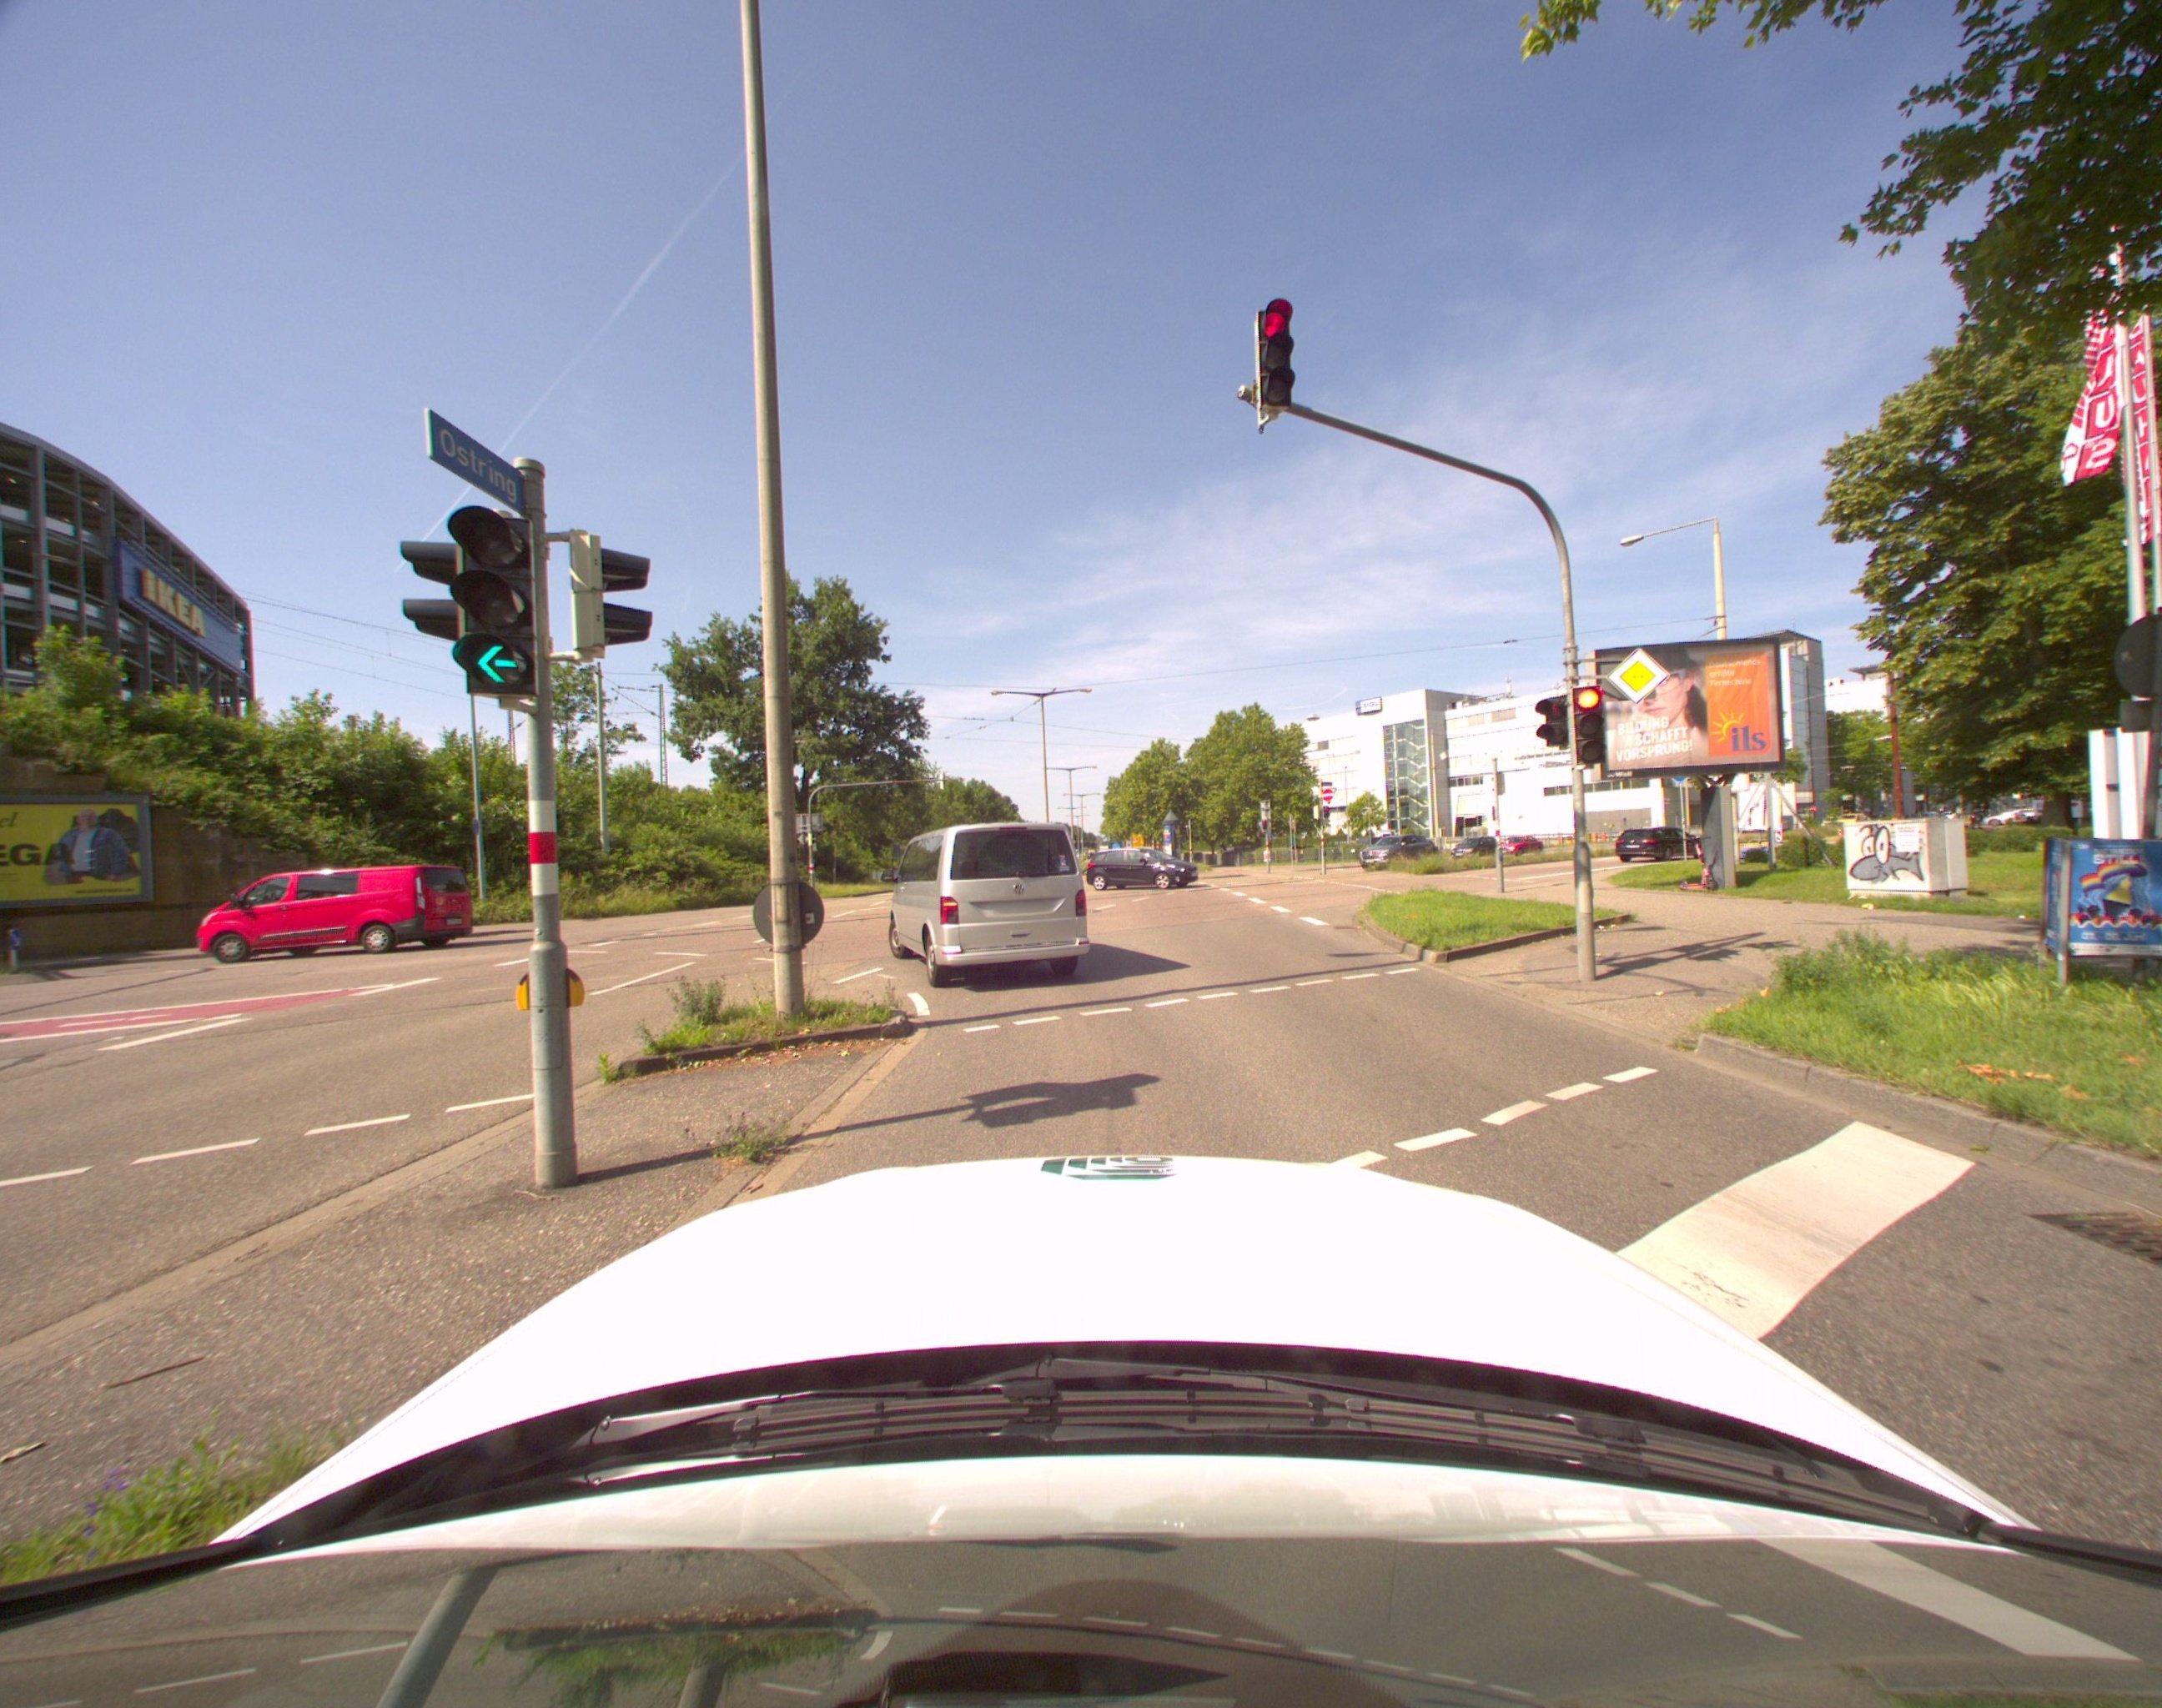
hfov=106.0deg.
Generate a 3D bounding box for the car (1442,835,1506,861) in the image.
[{"bbox_3d":[25.904,-0.416,53.601,4.647,1.444,1.762,-3,0,-35],"label":"car"}]

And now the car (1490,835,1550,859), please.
[{"bbox_3d":[30.603,-0.523,56.780,4.647,1.444,1.762,-3,0,-35],"label":"car"}]

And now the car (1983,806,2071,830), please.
[{"bbox_3d":[79.058,-3.009,68.123,1.923,1.689,4.579,-3,0,-32],"label":"car"}]

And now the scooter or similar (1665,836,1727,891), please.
[{"bbox_3d":[13.097,0.193,17.370,0.423,1.126,1.124,-3,0,0],"label":"scooter or similar"}]

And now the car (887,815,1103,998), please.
[{"bbox_3d":[-1.491,0.593,11.562,1.948,1.971,4.989,-2,0,-19],"label":"car"}]

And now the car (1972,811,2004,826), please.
[{"bbox_3d":[102.760,-4.052,92.213,4.362,1.510,1.831,-3,0,-35],"label":"car"}]

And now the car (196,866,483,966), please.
[{"bbox_3d":[-16.957,1.355,18.853,4.539,1.924,1.971,-3,0,-5],"label":"car"}]

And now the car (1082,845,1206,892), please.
[{"bbox_3d":[2.409,0.565,31.519,4.321,1.605,1.826,-3,0,31],"label":"car"}]

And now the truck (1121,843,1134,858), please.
[{"bbox_3d":[13.902,-1.039,243.157,3.176,4.355,13.163,-3,0,4],"label":"truck"}]

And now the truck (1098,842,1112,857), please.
[{"bbox_3d":[6.099,-1.050,203.535,2.828,3.577,8.730,-3,0,4],"label":"truck"}]

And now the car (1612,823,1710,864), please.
[{"bbox_3d":[24.533,-0.468,34.409,4.411,1.510,1.832,-3,0,-33],"label":"car"}]

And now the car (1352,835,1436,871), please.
[{"bbox_3d":[16.839,-0.067,43.716,4.647,1.689,1.895,-3,0,-35],"label":"car"}]

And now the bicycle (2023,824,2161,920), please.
[{"bbox_3d":[13.253,0.213,10.234,1.771,1.108,0.506,-4,-1,19],"label":"bicycle"}]

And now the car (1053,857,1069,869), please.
[{"bbox_3d":[-2.567,1.150,105.783,1.708,1.378,4.473,-4,0,1],"label":"car"}]
